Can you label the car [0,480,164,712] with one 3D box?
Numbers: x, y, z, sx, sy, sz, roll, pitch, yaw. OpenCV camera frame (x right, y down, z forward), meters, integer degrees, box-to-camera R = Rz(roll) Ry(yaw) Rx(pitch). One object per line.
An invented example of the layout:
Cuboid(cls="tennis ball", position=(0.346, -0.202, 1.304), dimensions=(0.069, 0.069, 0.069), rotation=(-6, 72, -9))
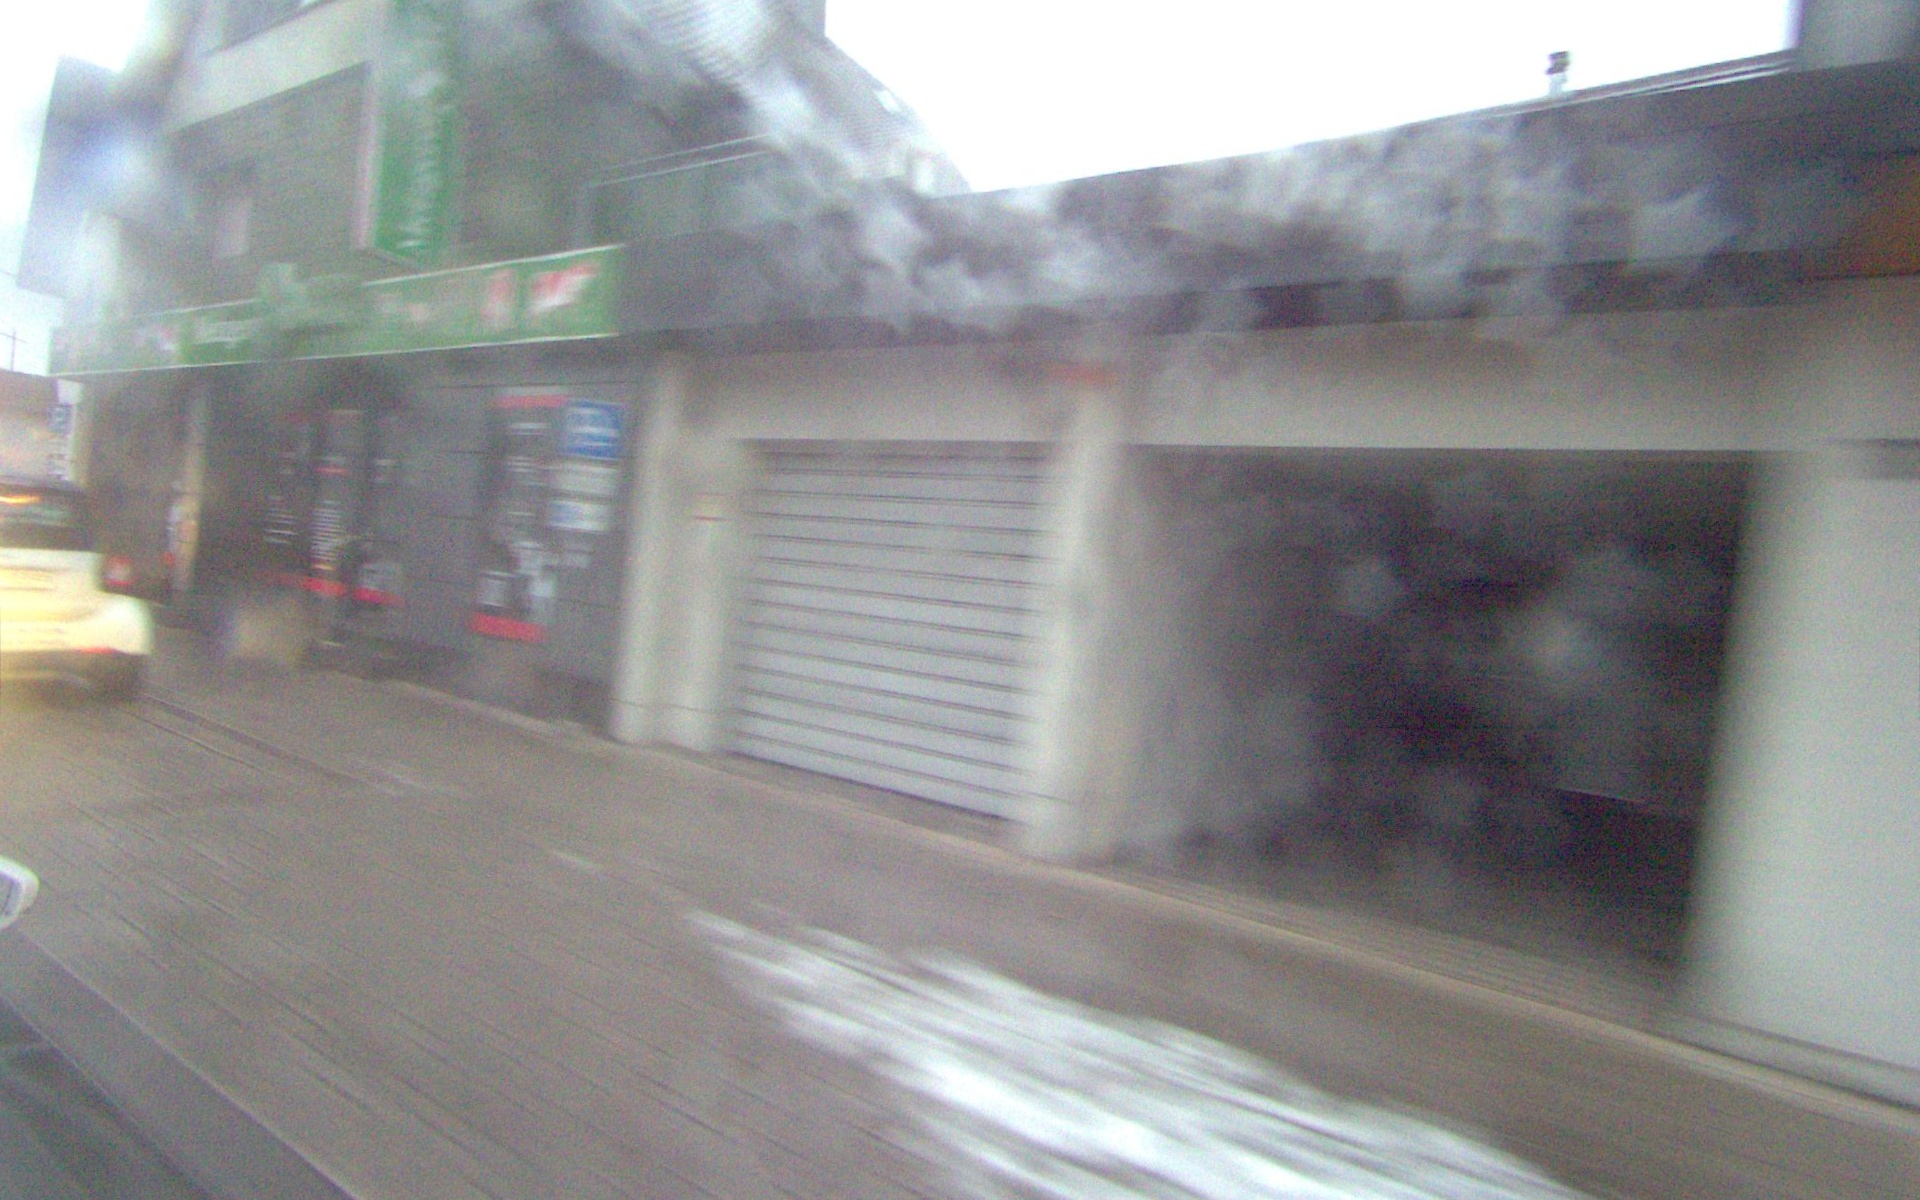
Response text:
Cuboid(cls="car", position=(-7.193, -0.142, 7.128), dimensions=(2.683, 1.435, 1.645), rotation=(8, 3, 33))
